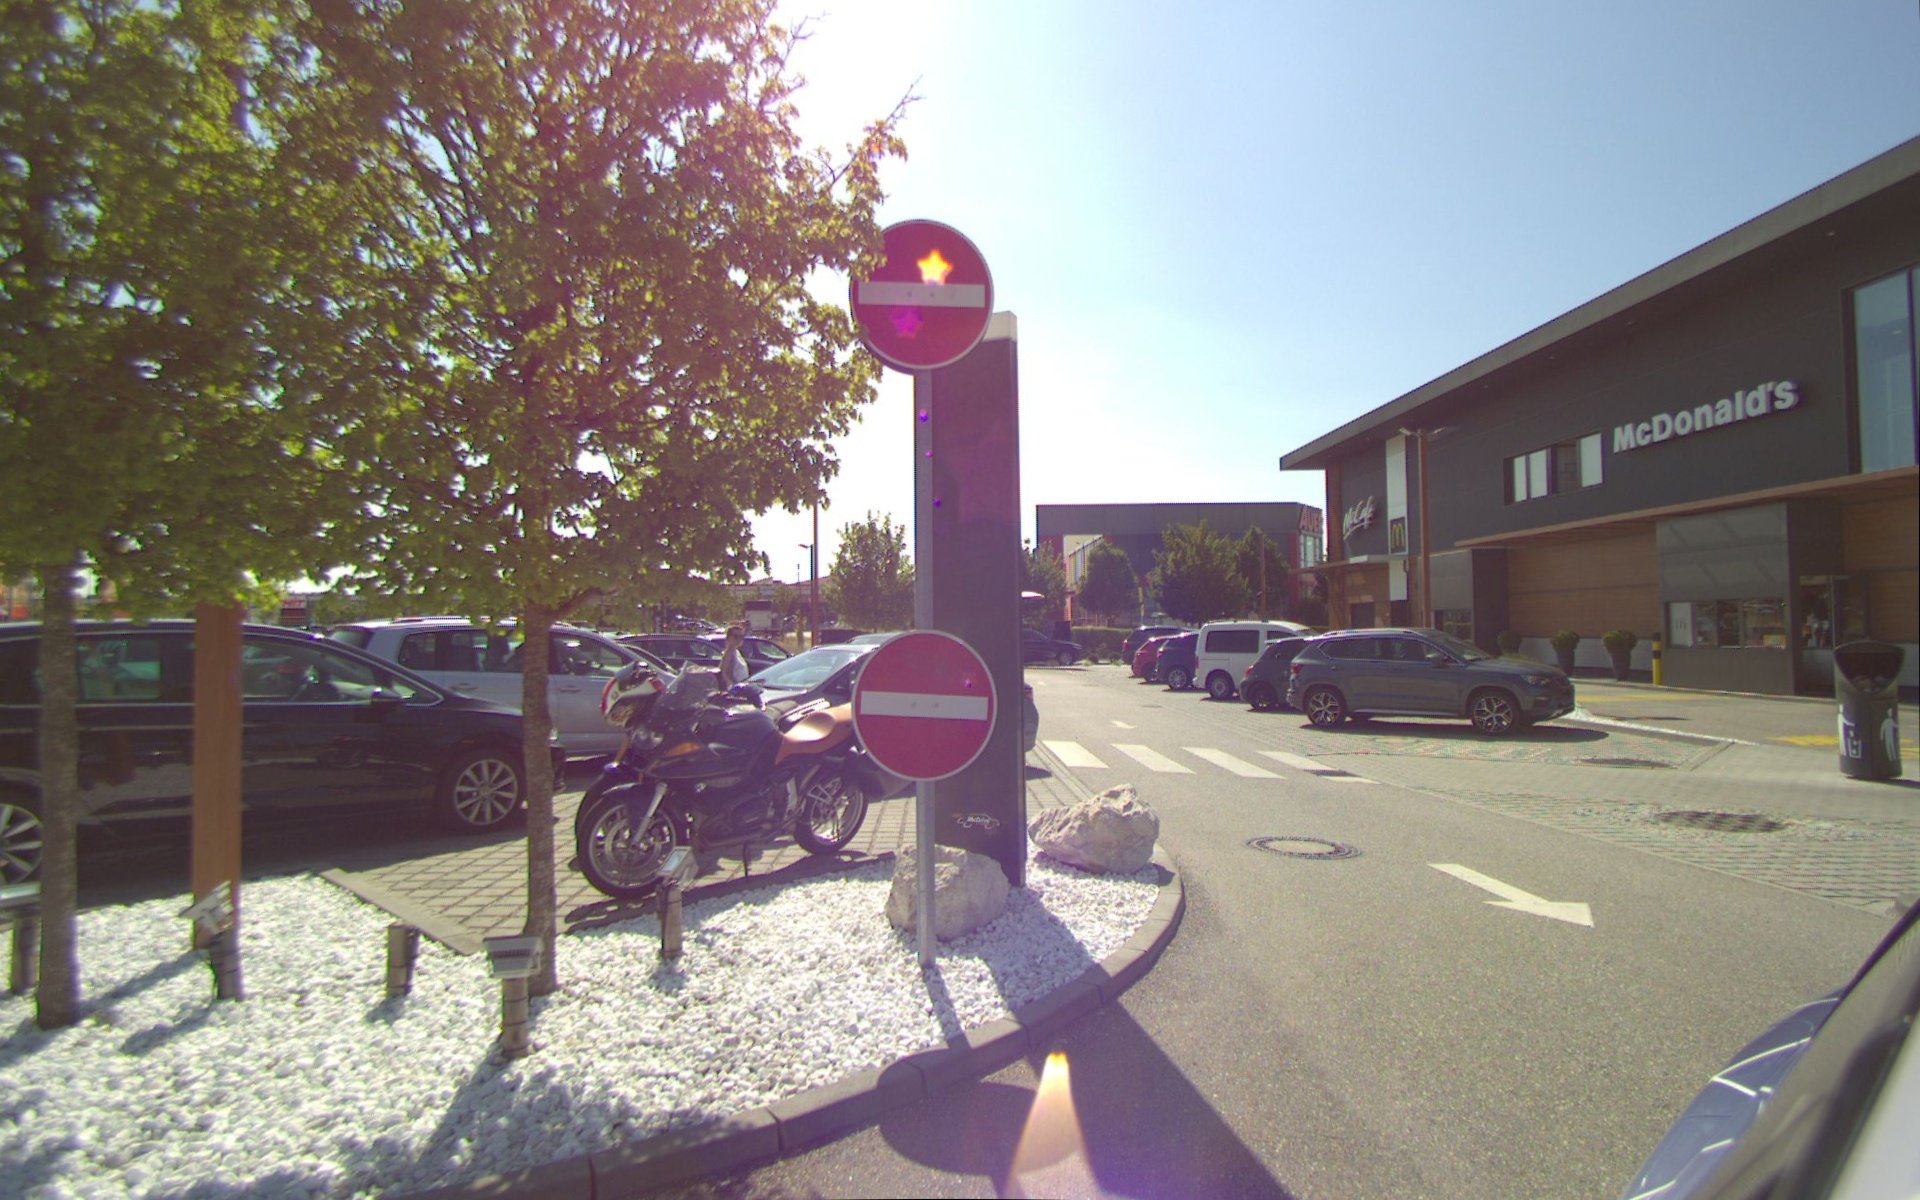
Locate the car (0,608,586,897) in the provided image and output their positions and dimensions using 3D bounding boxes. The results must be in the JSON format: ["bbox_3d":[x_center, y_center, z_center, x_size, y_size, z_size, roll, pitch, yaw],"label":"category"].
[{"bbox_3d":[-5.014,0.868,7.046,1.889,1.557,4.124,-2,-3,44],"label":"car"}]

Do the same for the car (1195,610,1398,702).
[{"bbox_3d":[7.747,1.246,23.468,4.123,1.946,1.733,-2,-2,39],"label":"car"}]

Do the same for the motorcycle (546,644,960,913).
[{"bbox_3d":[-1.123,0.916,6.004,1.066,1.267,2.218,-4,-5,40],"label":"motorcycle"}]

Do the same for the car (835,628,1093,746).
[{"bbox_3d":[0.142,1.256,15.987,3.932,1.614,1.807,1,-2,-43],"label":"car"}]

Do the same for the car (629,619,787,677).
[{"bbox_3d":[-6.775,1.270,27.407,3.838,1.445,1.702,2,-3,-44],"label":"car"}]

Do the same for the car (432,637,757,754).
[{"bbox_3d":[-5.107,1.249,14.528,1.787,1.426,4.017,-2,-3,44],"label":"car"}]

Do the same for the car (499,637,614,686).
[{"bbox_3d":[-13.948,2.073,34.941,4.027,1.576,1.784,-1,-2,34],"label":"car"}]

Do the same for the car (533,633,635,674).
[{"bbox_3d":[-14.269,1.991,38.327,4.063,1.441,1.773,-2,-2,38],"label":"car"}]

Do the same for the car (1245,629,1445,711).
[{"bbox_3d":[7.630,1.344,20.178,3.396,1.501,1.546,-2,-3,38],"label":"car"}]

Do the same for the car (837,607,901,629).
[{"bbox_3d":[-9.325,1.867,103.799,6.445,2.273,2.300,0,-2,-1],"label":"car"}]

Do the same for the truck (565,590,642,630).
[{"bbox_3d":[-31.762,0.931,89.980,7.509,3.395,2.394,-1,-2,33],"label":"truck"}]

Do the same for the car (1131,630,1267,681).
[{"bbox_3d":[7.277,1.684,30.815,3.736,1.463,1.658,-2,-2,28],"label":"car"}]

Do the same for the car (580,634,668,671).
[{"bbox_3d":[-13.884,2.142,41.765,3.761,1.441,1.884,-2,-2,43],"label":"car"}]

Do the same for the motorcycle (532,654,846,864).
[{"bbox_3d":[-1.832,1.014,7.214,0.816,1.247,2.112,-3,-4,37],"label":"motorcycle"}]

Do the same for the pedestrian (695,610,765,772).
[{"bbox_3d":[-2.557,0.988,11.265,0.553,1.735,0.610,1,-3,-38],"label":"pedestrian"}]

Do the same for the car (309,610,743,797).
[{"bbox_3d":[-4.552,0.984,11.051,1.742,1.661,4.002,-2,-3,44],"label":"car"}]

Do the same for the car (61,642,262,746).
[{"bbox_3d":[-13.730,1.496,17.318,4.451,1.490,1.886,-2,-2,41],"label":"car"}]

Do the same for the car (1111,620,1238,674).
[{"bbox_3d":[7.305,1.596,34.402,3.990,1.728,1.663,-2,-2,22],"label":"car"}]

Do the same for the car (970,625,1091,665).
[{"bbox_3d":[2.961,1.903,43.394,4.966,1.651,1.925,0,-2,-2],"label":"car"}]

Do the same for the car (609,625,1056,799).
[{"bbox_3d":[-1.146,1.065,10.839,4.584,1.466,1.830,3,-4,-44],"label":"car"}]

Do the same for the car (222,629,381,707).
[{"bbox_3d":[-13.423,1.300,20.535,3.985,1.421,1.792,-2,-2,43],"label":"car"}]

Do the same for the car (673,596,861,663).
[{"bbox_3d":[-4.800,0.732,25.596,1.977,1.530,4.345,-2,-2,45],"label":"car"}]

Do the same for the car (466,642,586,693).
[{"bbox_3d":[-13.578,2.052,31.506,4.664,1.429,1.686,-2,-2,43],"label":"car"}]

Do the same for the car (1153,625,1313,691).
[{"bbox_3d":[7.330,1.521,27.237,3.816,1.653,1.737,-1,-2,33],"label":"car"}]

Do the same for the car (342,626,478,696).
[{"bbox_3d":[-13.026,1.376,23.867,1.791,1.508,3.988,1,-2,-45],"label":"car"}]

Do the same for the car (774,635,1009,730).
[{"bbox_3d":[-1.151,1.389,18.170,4.008,1.467,1.823,1,-2,-44],"label":"car"}]

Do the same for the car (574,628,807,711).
[{"bbox_3d":[-5.541,1.359,21.173,1.977,1.530,4.345,-2,-2,45],"label":"car"}]

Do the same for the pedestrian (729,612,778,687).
[{"bbox_3d":[-5.405,1.288,26.563,1.013,1.941,0.899,-1,-2,11],"label":"pedestrian"}]

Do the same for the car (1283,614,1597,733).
[{"bbox_3d":[7.671,1.168,16.442,4.211,1.624,1.763,-5,-2,43],"label":"car"}]

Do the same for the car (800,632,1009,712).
[{"bbox_3d":[-1.122,1.479,22.065,1.881,1.530,4.469,-2,-2,45],"label":"car"}]
